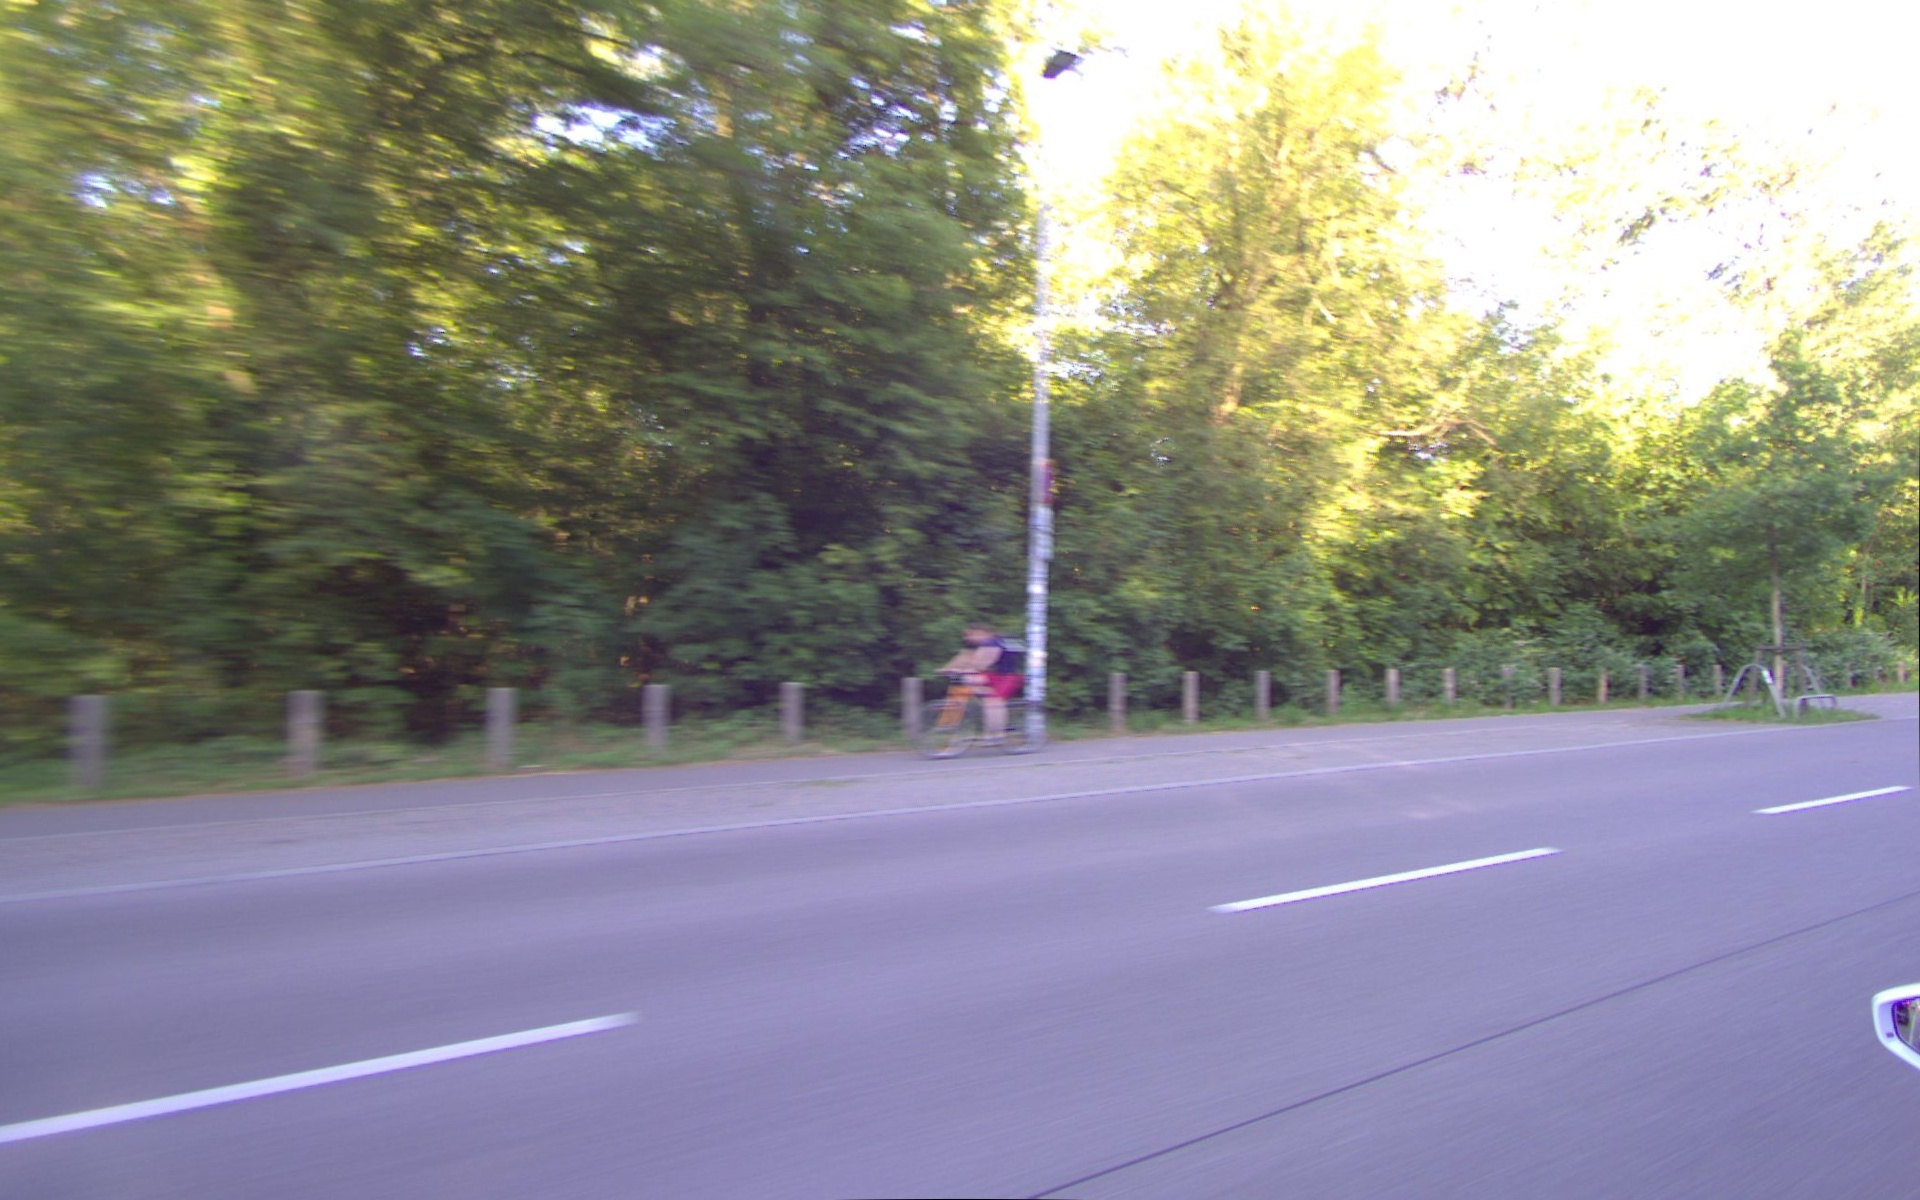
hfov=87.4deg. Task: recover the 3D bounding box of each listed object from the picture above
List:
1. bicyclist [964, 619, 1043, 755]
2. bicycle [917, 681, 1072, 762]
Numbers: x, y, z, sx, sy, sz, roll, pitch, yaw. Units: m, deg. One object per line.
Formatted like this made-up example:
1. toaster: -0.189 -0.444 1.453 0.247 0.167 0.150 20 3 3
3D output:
1. bicyclist: 0.497 0.985 11.589 0.752 1.503 0.497 1 -3 -30
2. bicycle: 0.414 1.365 11.521 1.787 0.824 0.492 1 -4 -31
